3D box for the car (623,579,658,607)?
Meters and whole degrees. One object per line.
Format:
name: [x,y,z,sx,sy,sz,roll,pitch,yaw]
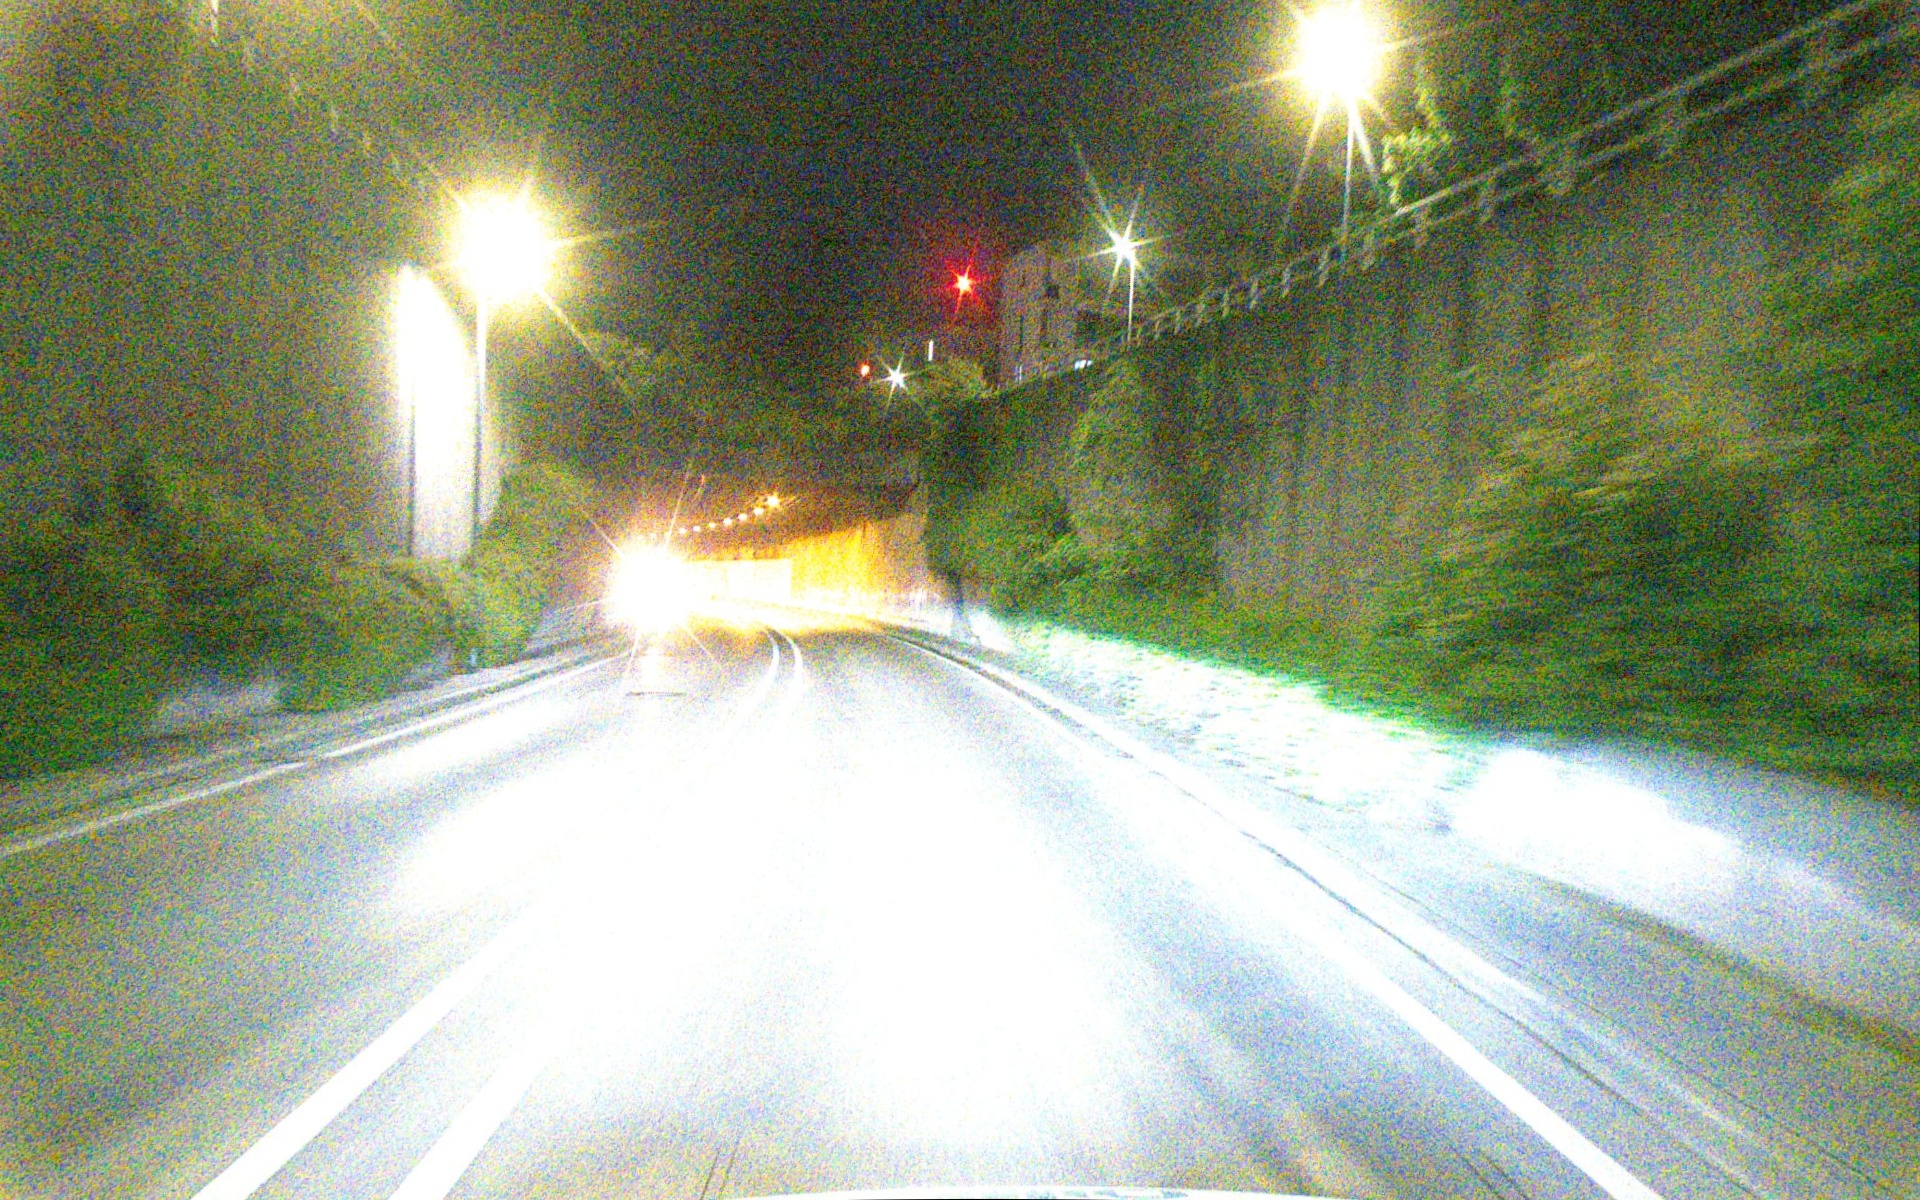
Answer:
car: [-22.458,-0.491,116.115,1.961,1.770,3.984,6,-1,-15]
